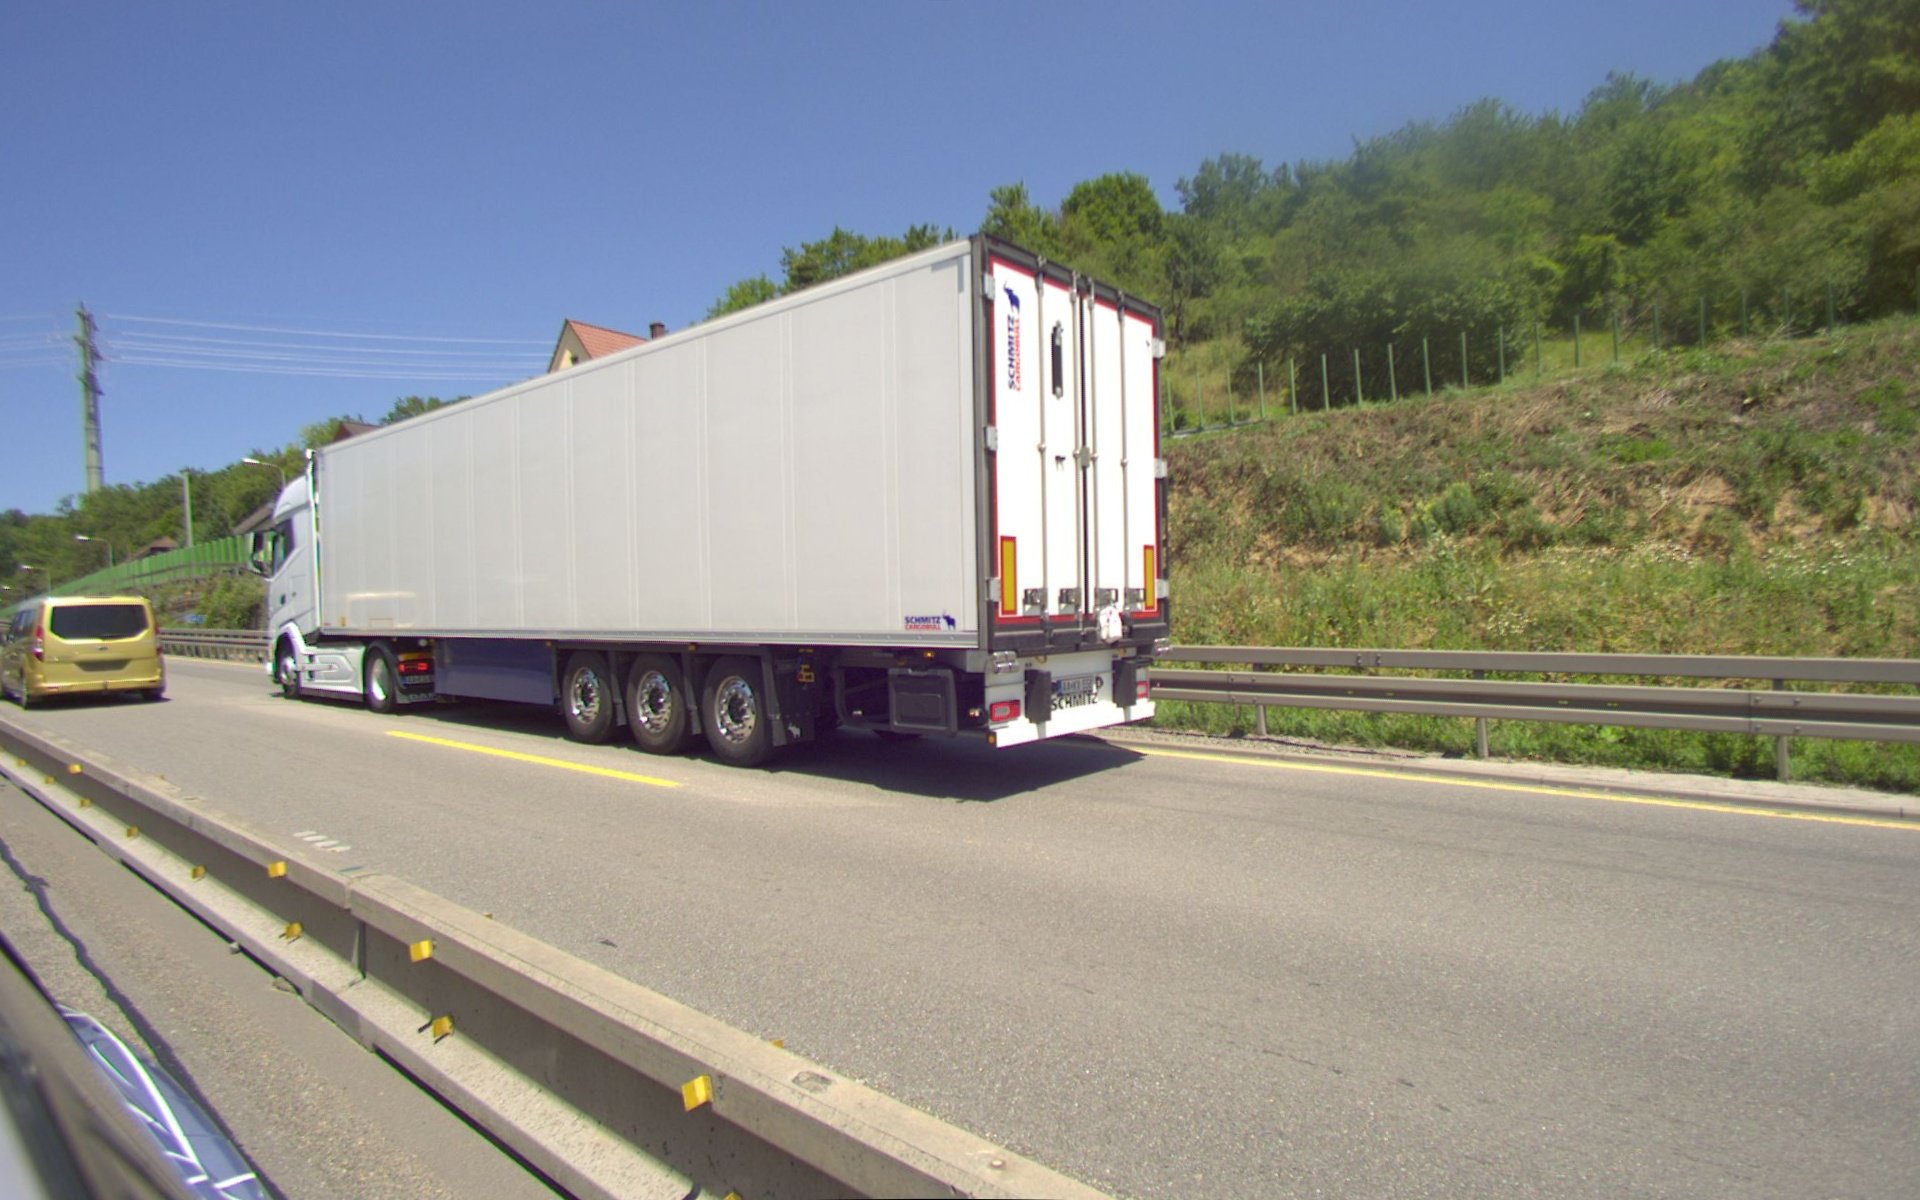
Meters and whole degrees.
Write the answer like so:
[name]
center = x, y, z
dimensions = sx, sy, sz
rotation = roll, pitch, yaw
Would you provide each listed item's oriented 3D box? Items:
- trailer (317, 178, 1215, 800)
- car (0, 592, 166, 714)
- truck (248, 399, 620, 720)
[trailer]
center = -3.797, -0.648, 12.424
dimensions = 13.399, 4.190, 3.187
rotation = -1, 0, 41
[car]
center = -15.371, 0.833, 17.478
dimensions = 4.430, 1.834, 1.757
rotation = -1, 0, 41
[truck]
center = -8.873, -0.554, 16.776
dimensions = 6.478, 4.269, 3.149
rotation = 0, 1, 39
